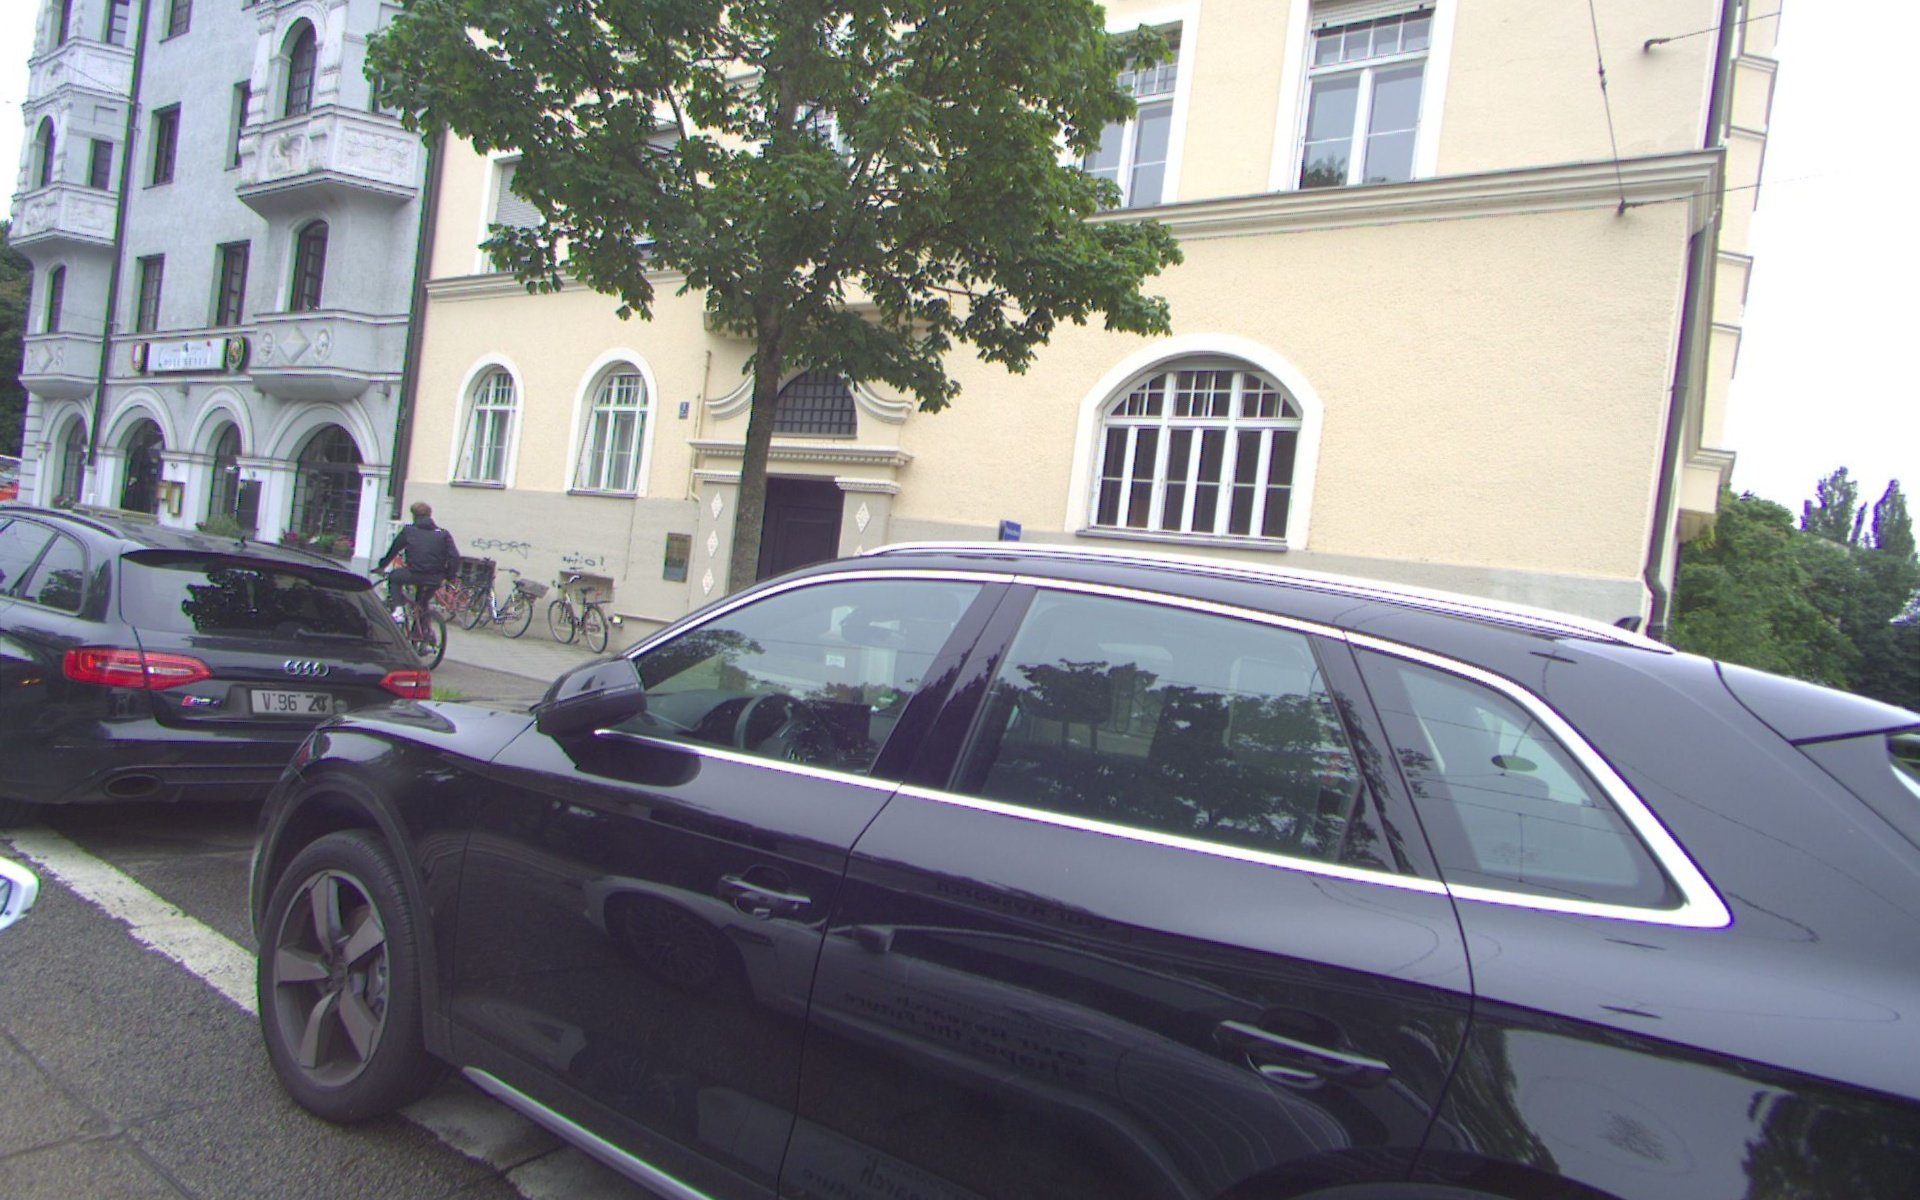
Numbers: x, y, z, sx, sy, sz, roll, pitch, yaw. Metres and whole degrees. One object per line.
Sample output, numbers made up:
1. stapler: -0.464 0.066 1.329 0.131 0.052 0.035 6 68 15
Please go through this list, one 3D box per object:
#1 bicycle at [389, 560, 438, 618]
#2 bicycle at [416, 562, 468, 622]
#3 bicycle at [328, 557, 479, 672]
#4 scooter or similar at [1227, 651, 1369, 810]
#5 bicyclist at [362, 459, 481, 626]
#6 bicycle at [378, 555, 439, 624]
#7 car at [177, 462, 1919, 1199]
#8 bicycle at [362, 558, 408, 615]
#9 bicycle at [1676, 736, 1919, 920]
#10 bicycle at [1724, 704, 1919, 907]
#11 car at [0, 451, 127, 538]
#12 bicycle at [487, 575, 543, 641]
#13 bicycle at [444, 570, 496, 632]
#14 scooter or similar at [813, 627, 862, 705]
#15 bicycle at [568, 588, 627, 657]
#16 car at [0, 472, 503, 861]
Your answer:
1. bicycle: -9.811 -0.196 18.046 0.871 0.941 0.291 7 -1 33
2. bicycle: -9.026 -0.136 17.520 0.871 0.941 0.306 7 -1 34
3. bicycle: -6.375 0.145 11.496 1.880 1.093 0.579 7 2 31
4. scooter or similar: 3.237 1.228 9.648 1.122 1.328 0.262 7 -1 25
5. bicyclist: -6.114 -0.645 11.428 0.714 1.749 0.726 7 -1 31
6. bicycle: -9.539 -0.187 17.378 1.203 1.051 0.242 7 -1 32
7. car: 0.122 0.733 2.527 4.414 1.677 1.777 7 -2 32
8. bicycle: -10.594 -0.252 18.530 0.871 0.941 0.259 7 -1 33
9. bicycle: 6.547 1.742 7.858 1.417 1.119 0.287 7 0 24
10. bicycle: 6.924 1.581 7.739 1.511 1.327 0.332 7 -1 30
11. car: -36.513 -4.248 39.407 2.192 2.642 5.311 7 -2 29
12. bicycle: -7.179 0.126 16.223 0.871 0.941 0.285 7 -1 33
13. bicycle: -8.261 0.018 16.965 0.871 0.941 0.273 7 -1 33
14. scooter or similar: -1.541 0.831 12.708 0.413 0.921 0.348 8 -1 11
15. bicycle: -5.499 0.332 15.236 0.871 0.941 0.222 7 -1 31
16. car: -4.847 0.132 5.712 4.525 1.442 1.720 7 -2 31
